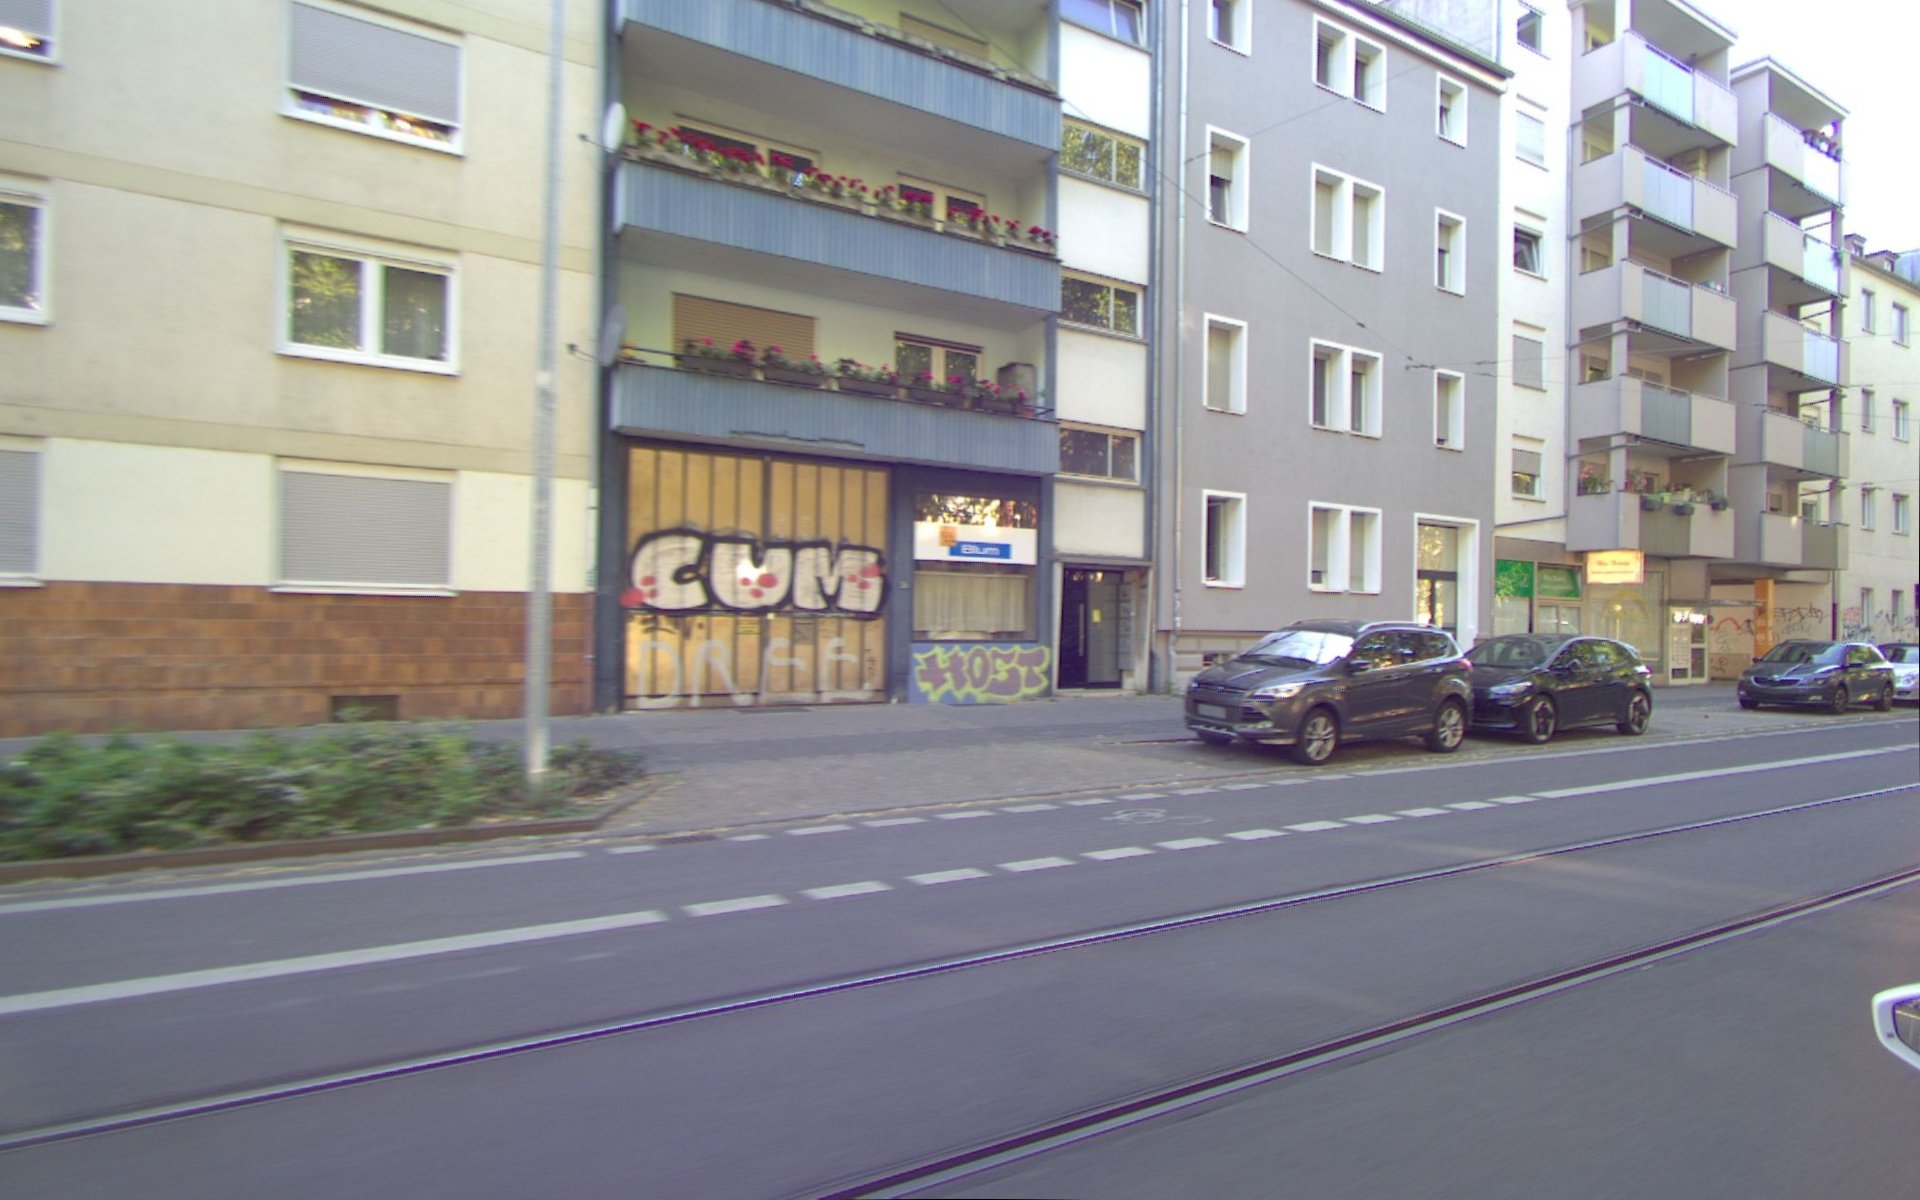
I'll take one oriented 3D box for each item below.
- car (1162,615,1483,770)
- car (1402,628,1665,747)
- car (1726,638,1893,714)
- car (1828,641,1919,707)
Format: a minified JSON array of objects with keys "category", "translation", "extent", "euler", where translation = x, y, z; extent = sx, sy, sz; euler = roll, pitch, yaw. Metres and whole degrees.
[{"category":"car","translation":[4.807,1.101,13.150],"extent":[4.194,1.672,1.693],"euler":[1,1,-32]},{"category":"car","translation":[9.031,1.286,15.744],"extent":[4.192,1.565,1.694],"euler":[1,1,-30]},{"category":"car","translation":[17.981,1.541,21.238],"extent":[3.794,1.456,1.645],"euler":[1,-1,-32]},{"category":"car","translation":[22.294,1.686,23.673],"extent":[3.941,1.422,1.479],"euler":[1,-1,-28]}]
